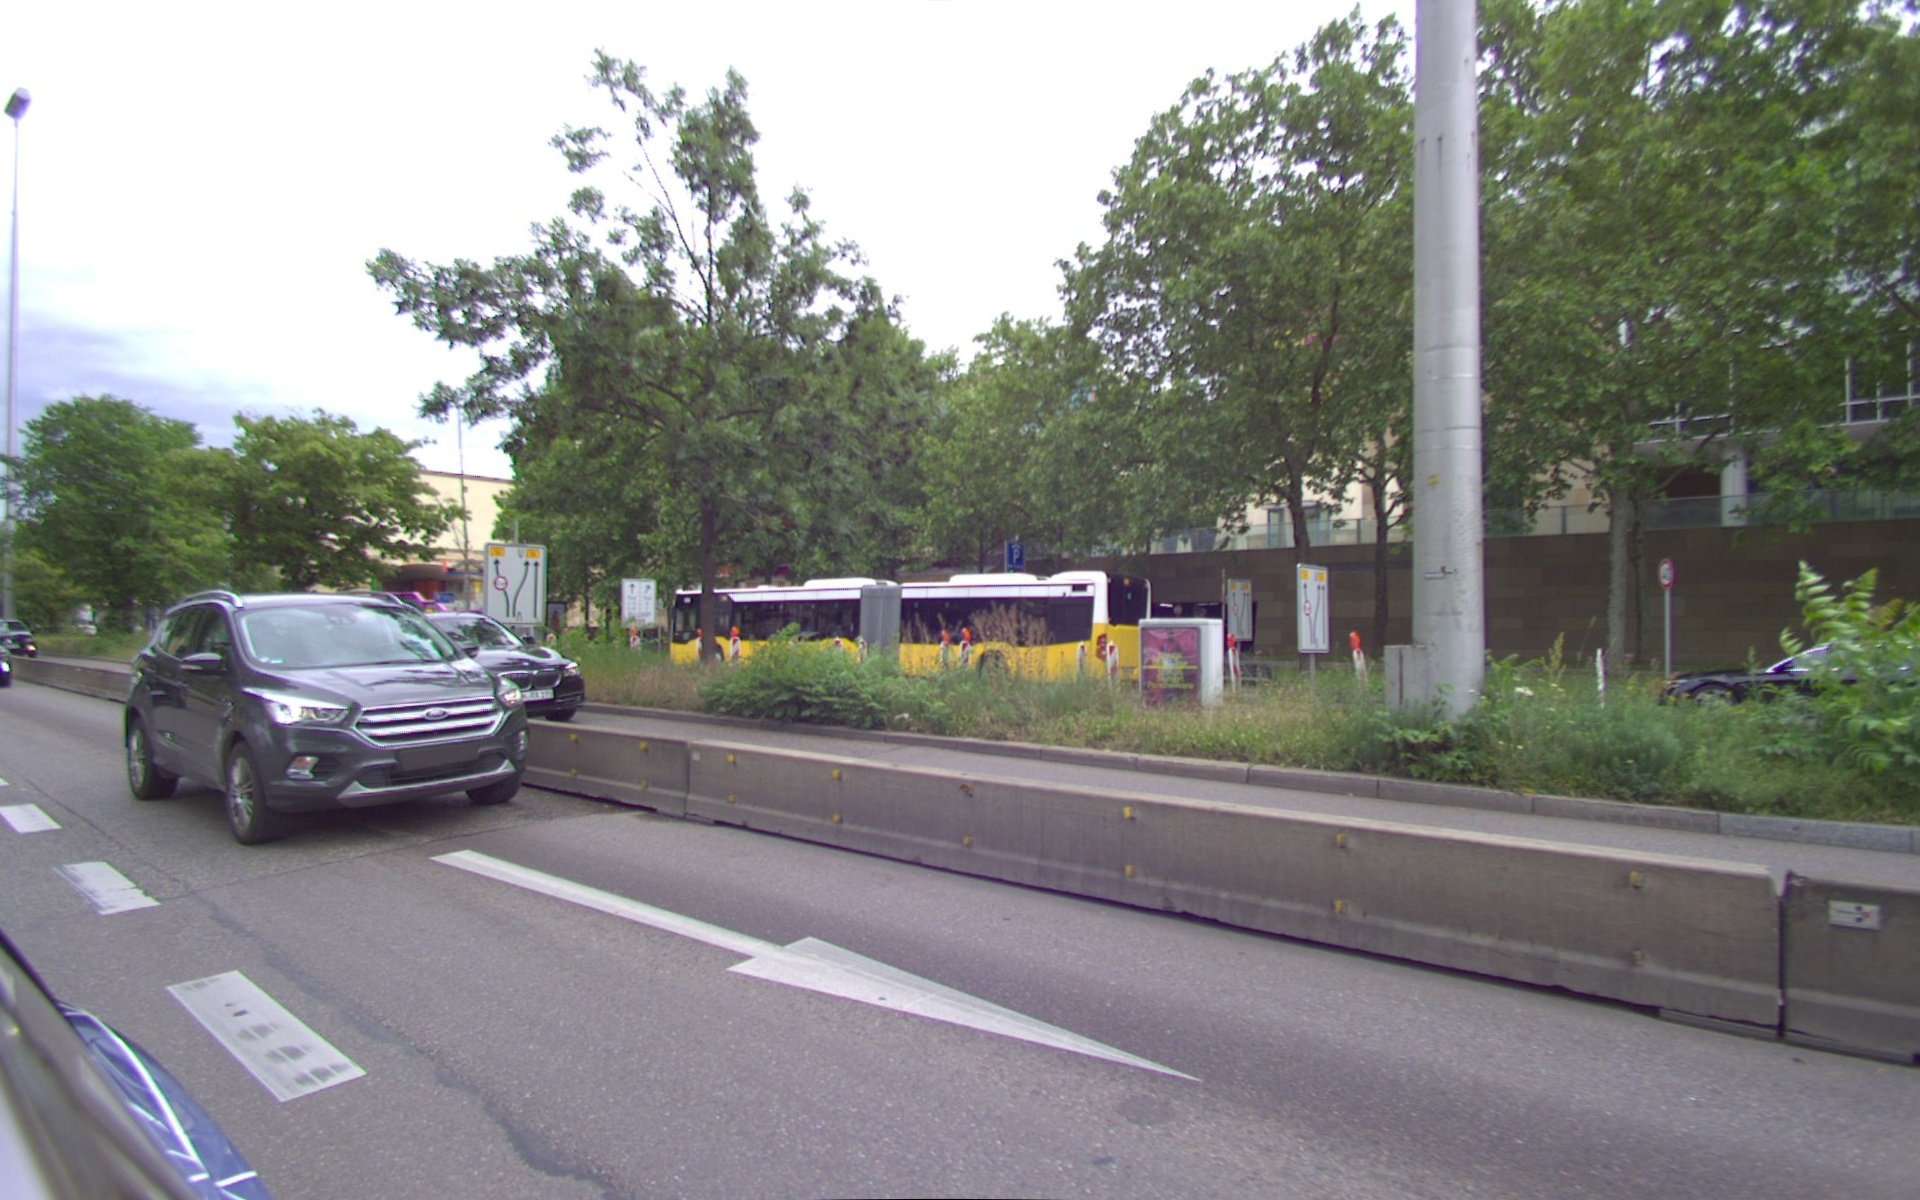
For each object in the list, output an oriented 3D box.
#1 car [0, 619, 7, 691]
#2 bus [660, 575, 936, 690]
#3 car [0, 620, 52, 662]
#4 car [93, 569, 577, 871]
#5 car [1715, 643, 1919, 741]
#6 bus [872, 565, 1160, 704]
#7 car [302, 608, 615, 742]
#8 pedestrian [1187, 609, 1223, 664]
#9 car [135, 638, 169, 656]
[{"bbox_3d":[-22.589,1.198,22.401,4.150,1.527,1.745,0,0,41],"label":"car"},{"bbox_3d":[-5.676,1.041,33.611,10.439,3.330,2.883,-1,-2,40],"label":"bus"},{"bbox_3d":[-35.406,1.493,37.465,4.804,1.494,1.974,-1,-2,39],"label":"car"},{"bbox_3d":[-5.138,0.738,8.021,4.653,1.728,1.875,-2,-1,40],"label":"car"},{"bbox_3d":[14.043,1.357,15.361,3.998,1.383,1.707,-2,-3,41],"label":"car"},{"bbox_3d":[1.346,0.908,27.826,7.698,3.329,2.894,-1,-2,39],"label":"bus"},{"bbox_3d":[-6.832,0.893,13.553,4.804,1.494,1.974,-1,-2,39],"label":"car"},{"bbox_3d":[8.580,1.274,35.428,0.987,1.869,0.714,-1,-3,40],"label":"pedestrian"},{"bbox_3d":[-64.814,3.759,81.132,3.733,1.298,1.339,0,1,39],"label":"car"}]
